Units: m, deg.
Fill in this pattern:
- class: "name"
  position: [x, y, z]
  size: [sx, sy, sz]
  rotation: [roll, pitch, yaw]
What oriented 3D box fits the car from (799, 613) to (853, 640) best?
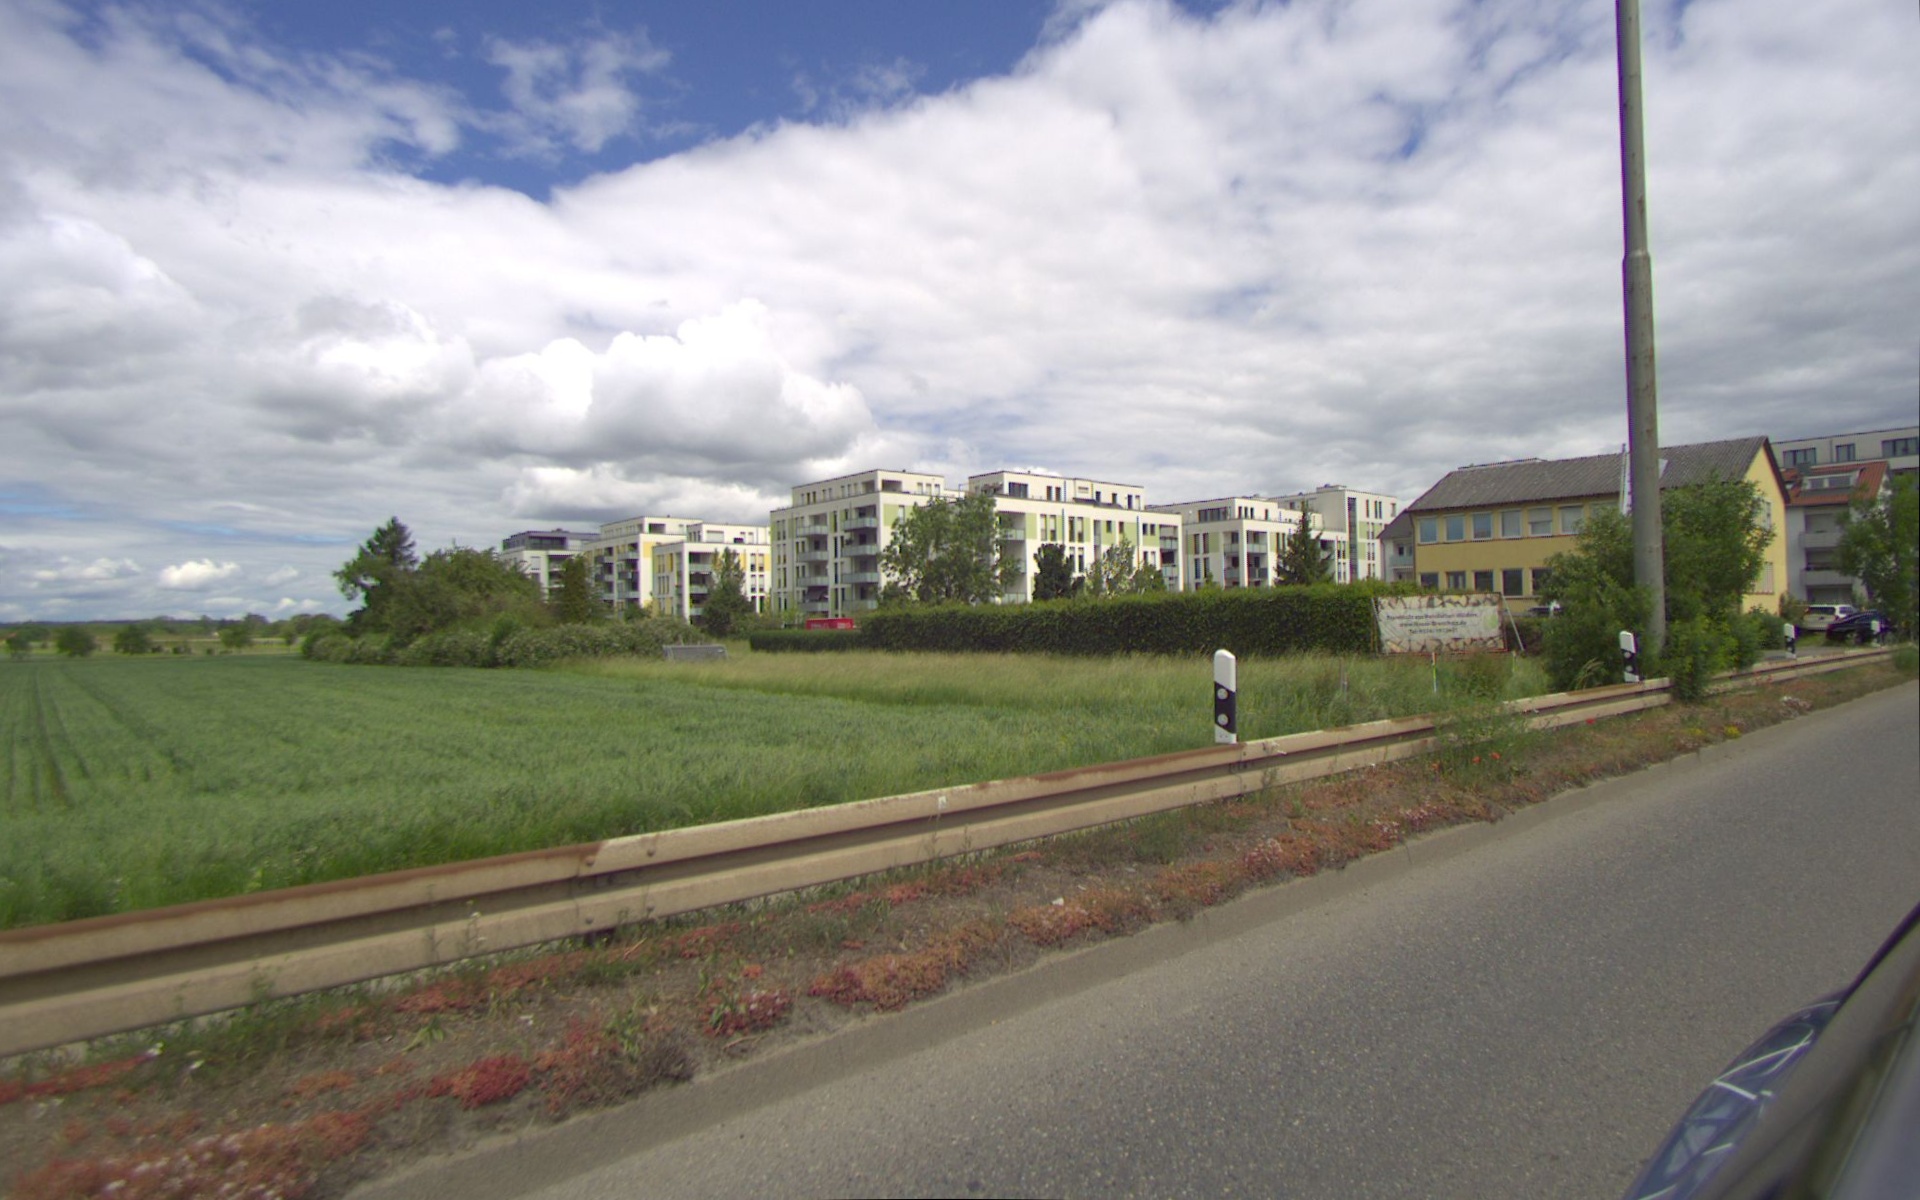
- class: "car"
  position: [-10.746, 2.105, 81.107]
  size: [1.968, 2.039, 4.426]
  rotation: [-1, -1, -45]
